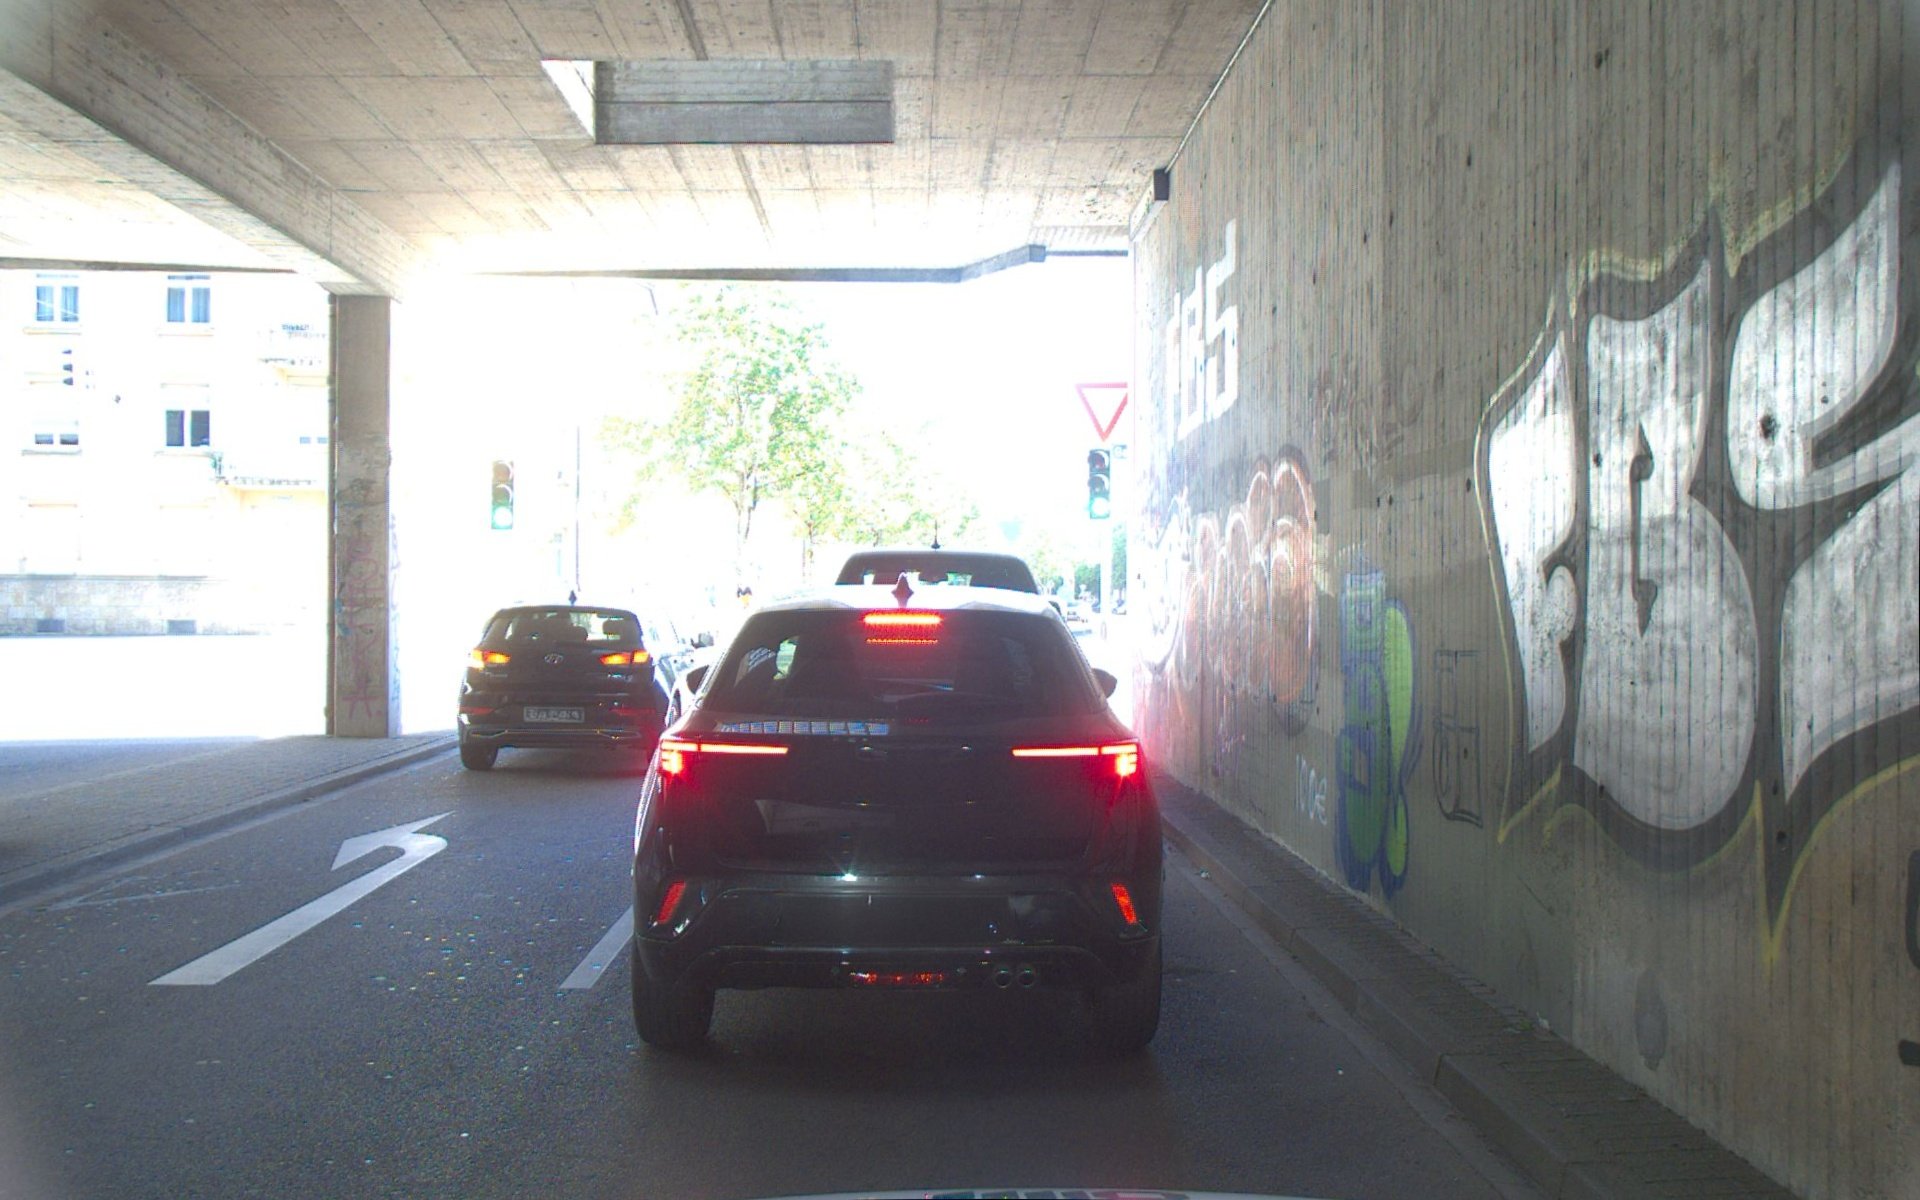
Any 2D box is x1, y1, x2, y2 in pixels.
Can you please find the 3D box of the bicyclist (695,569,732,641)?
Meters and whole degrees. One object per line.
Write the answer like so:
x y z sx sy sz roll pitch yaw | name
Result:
-6.108 0.112 41.035 0.730 1.741 0.967 0 2 2 | bicyclist

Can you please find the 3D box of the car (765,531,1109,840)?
-0.171 0.507 12.511 2.089 1.867 4.939 0 0 -1 | car

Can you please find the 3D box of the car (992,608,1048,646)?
2.490 1.071 67.940 1.671 1.477 3.854 0 0 11 | car

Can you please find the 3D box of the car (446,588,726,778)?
-3.245 0.640 15.174 1.765 1.476 4.324 0 0 -3 | car

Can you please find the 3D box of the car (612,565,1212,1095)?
-0.163 0.672 6.741 1.745 1.544 3.755 1 0 -1 | car

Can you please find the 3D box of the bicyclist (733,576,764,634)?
-6.224 0.141 48.625 0.766 1.689 1.031 0 0 1 | bicyclist

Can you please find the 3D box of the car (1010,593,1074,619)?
6.646 0.482 134.167 4.822 2.119 1.969 0 -1 -26 | car

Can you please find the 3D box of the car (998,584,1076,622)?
5.395 0.191 116.268 5.175 2.590 1.977 0 -1 -16 | car

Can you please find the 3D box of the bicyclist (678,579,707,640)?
-7.279 0.249 45.068 0.593 1.661 0.910 0 0 4 | bicyclist

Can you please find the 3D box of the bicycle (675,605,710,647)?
-7.271 0.695 44.990 0.514 1.109 1.861 0 0 4 | bicycle

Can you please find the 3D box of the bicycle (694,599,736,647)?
-6.096 0.557 41.172 0.683 1.109 1.861 0 2 2 | bicycle

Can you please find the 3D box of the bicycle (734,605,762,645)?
-6.236 0.723 48.670 0.530 1.142 2.059 0 0 1 | bicycle

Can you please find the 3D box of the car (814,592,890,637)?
-3.622 0.481 55.999 1.622 1.466 3.466 0 0 13 | car

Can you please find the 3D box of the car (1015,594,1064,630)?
3.610 0.511 74.829 1.668 1.539 3.866 -2 0 11 | car
